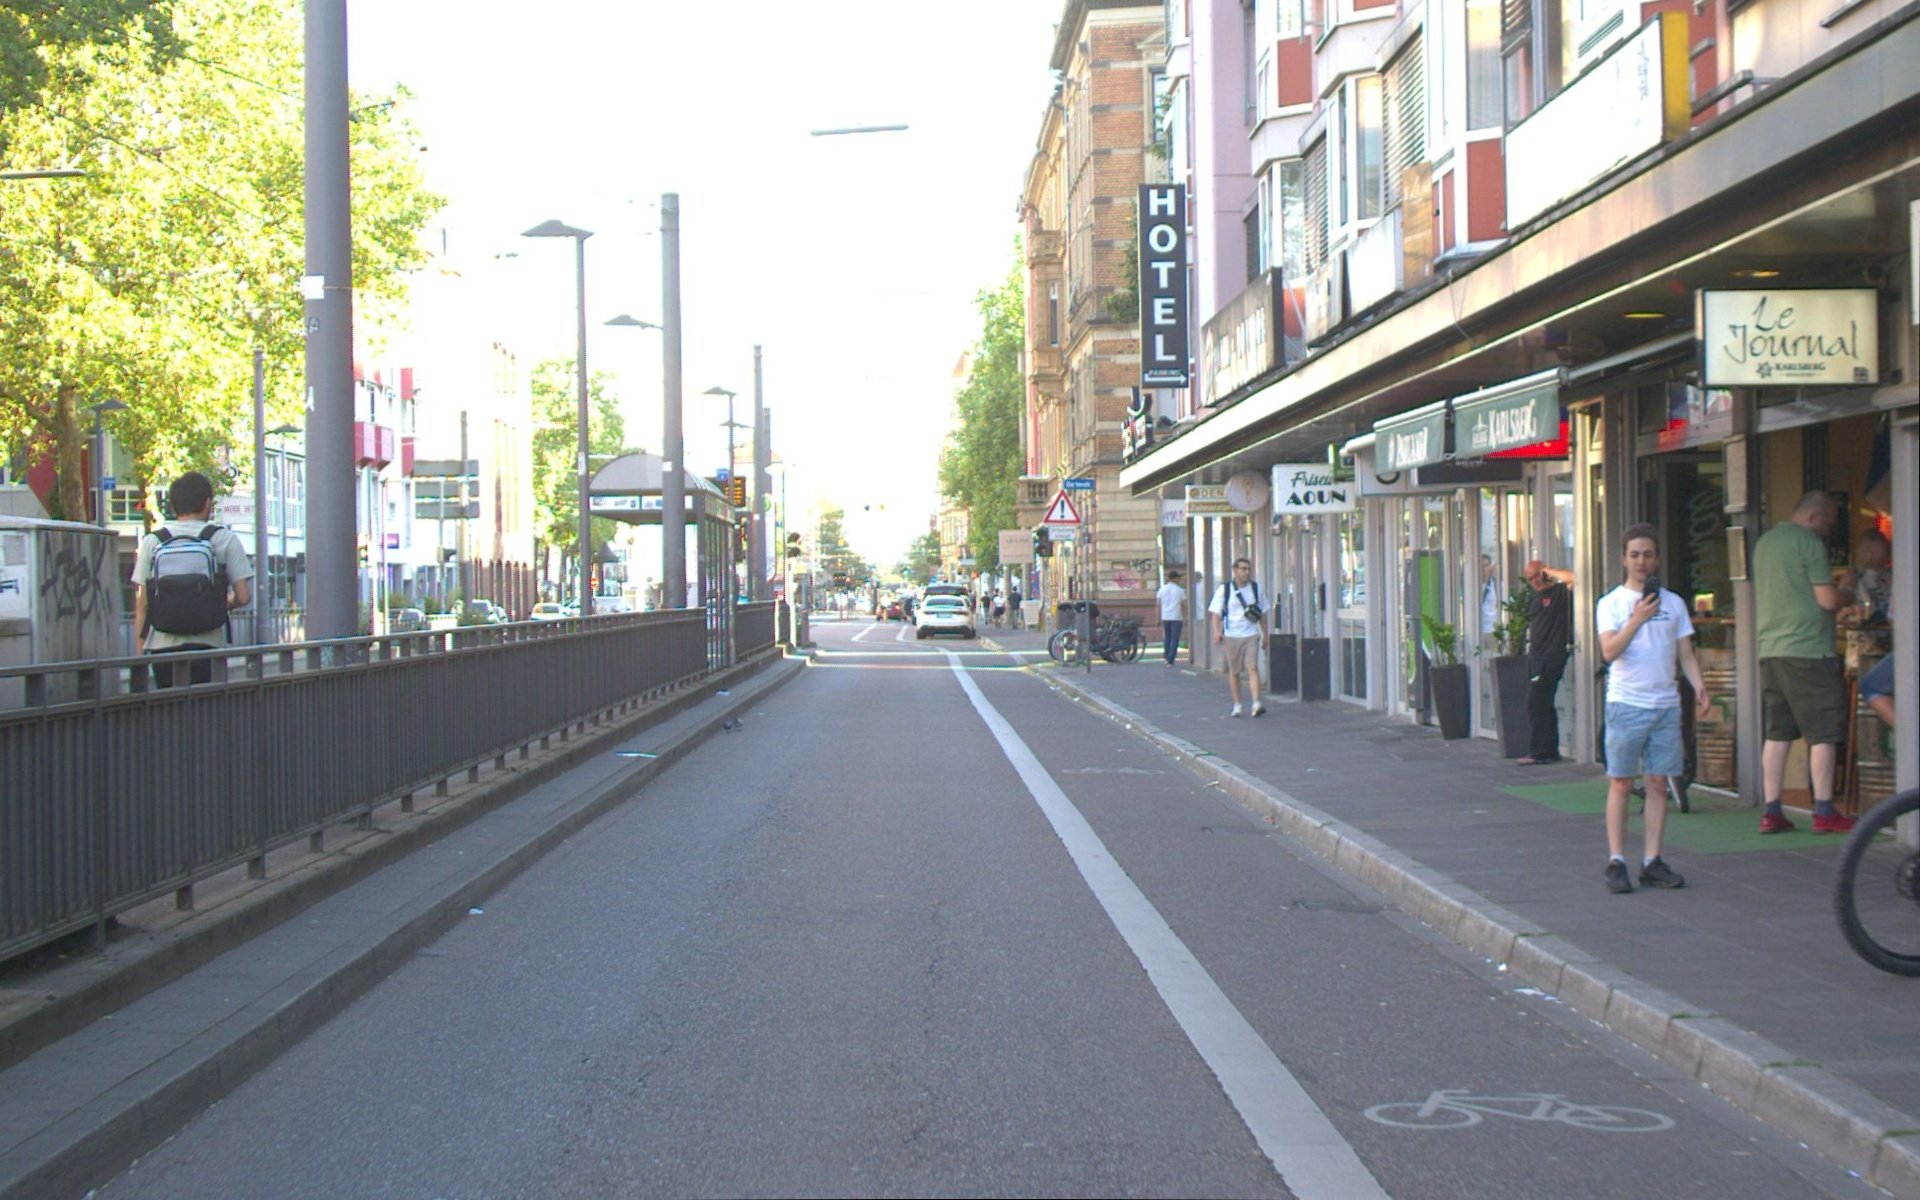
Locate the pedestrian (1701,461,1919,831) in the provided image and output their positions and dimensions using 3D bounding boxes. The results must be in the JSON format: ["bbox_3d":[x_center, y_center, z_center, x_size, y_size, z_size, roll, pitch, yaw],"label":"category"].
[{"bbox_3d":[4.587,0.240,18.334,0.914,1.860,0.779,-5,0,-4],"label":"pedestrian"}]

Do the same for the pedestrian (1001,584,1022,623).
[{"bbox_3d":[2.116,0.143,141.234,0.776,1.561,0.913,-4,0,0],"label":"pedestrian"}]

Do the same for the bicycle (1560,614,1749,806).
[{"bbox_3d":[4.218,0.645,20.993,0.657,1.063,1.794,-5,0,-2],"label":"bicycle"}]

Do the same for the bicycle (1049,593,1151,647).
[{"bbox_3d":[2.715,0.383,66.583,1.913,1.044,0.681,0,0,-4],"label":"bicycle"}]

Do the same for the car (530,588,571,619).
[{"bbox_3d":[-20.792,0.171,174.683,1.869,1.594,4.254,0,0,-4],"label":"car"}]

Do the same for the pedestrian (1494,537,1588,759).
[{"bbox_3d":[4.422,0.363,26.170,0.541,1.668,0.469,-1,0,-9],"label":"pedestrian"}]

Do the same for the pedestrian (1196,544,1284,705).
[{"bbox_3d":[3.089,0.273,38.001,0.798,1.716,1.061,-3,-1,1],"label":"pedestrian"}]

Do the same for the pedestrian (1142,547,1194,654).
[{"bbox_3d":[3.767,0.013,62.296,0.813,1.878,0.776,3,0,1],"label":"pedestrian"}]

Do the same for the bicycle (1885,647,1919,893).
[{"bbox_3d":[5.116,0.711,15.078,1.924,1.056,0.576,-2,0,-1],"label":"bicycle"}]

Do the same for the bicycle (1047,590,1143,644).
[{"bbox_3d":[2.665,0.338,67.970,1.833,1.050,0.718,0,0,-4],"label":"bicycle"}]

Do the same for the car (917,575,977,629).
[{"bbox_3d":[-0.445,0.070,117.082,1.966,1.765,4.875,1,0,0],"label":"car"}]

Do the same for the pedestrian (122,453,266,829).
[{"bbox_3d":[-3.706,0.196,16.655,0.582,1.785,0.606,0,0,-3],"label":"pedestrian"}]

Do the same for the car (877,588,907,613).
[{"bbox_3d":[-4.643,0.022,235.767,2.041,1.668,4.875,1,1,-1],"label":"car"}]

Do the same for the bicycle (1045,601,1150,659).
[{"bbox_3d":[2.686,0.584,67.240,1.970,1.101,0.614,-1,0,-4],"label":"bicycle"}]

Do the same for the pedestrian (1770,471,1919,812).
[{"bbox_3d":[5.117,0.227,19.320,0.776,1.860,0.687,-2,-1,-21],"label":"pedestrian"}]

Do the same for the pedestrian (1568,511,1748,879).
[{"bbox_3d":[3.262,0.435,16.110,0.632,1.668,0.771,-1,0,-1],"label":"pedestrian"}]

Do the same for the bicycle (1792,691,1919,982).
[{"bbox_3d":[4.096,0.797,12.335,2.022,0.970,0.659,-3,0,2],"label":"bicycle"}]
